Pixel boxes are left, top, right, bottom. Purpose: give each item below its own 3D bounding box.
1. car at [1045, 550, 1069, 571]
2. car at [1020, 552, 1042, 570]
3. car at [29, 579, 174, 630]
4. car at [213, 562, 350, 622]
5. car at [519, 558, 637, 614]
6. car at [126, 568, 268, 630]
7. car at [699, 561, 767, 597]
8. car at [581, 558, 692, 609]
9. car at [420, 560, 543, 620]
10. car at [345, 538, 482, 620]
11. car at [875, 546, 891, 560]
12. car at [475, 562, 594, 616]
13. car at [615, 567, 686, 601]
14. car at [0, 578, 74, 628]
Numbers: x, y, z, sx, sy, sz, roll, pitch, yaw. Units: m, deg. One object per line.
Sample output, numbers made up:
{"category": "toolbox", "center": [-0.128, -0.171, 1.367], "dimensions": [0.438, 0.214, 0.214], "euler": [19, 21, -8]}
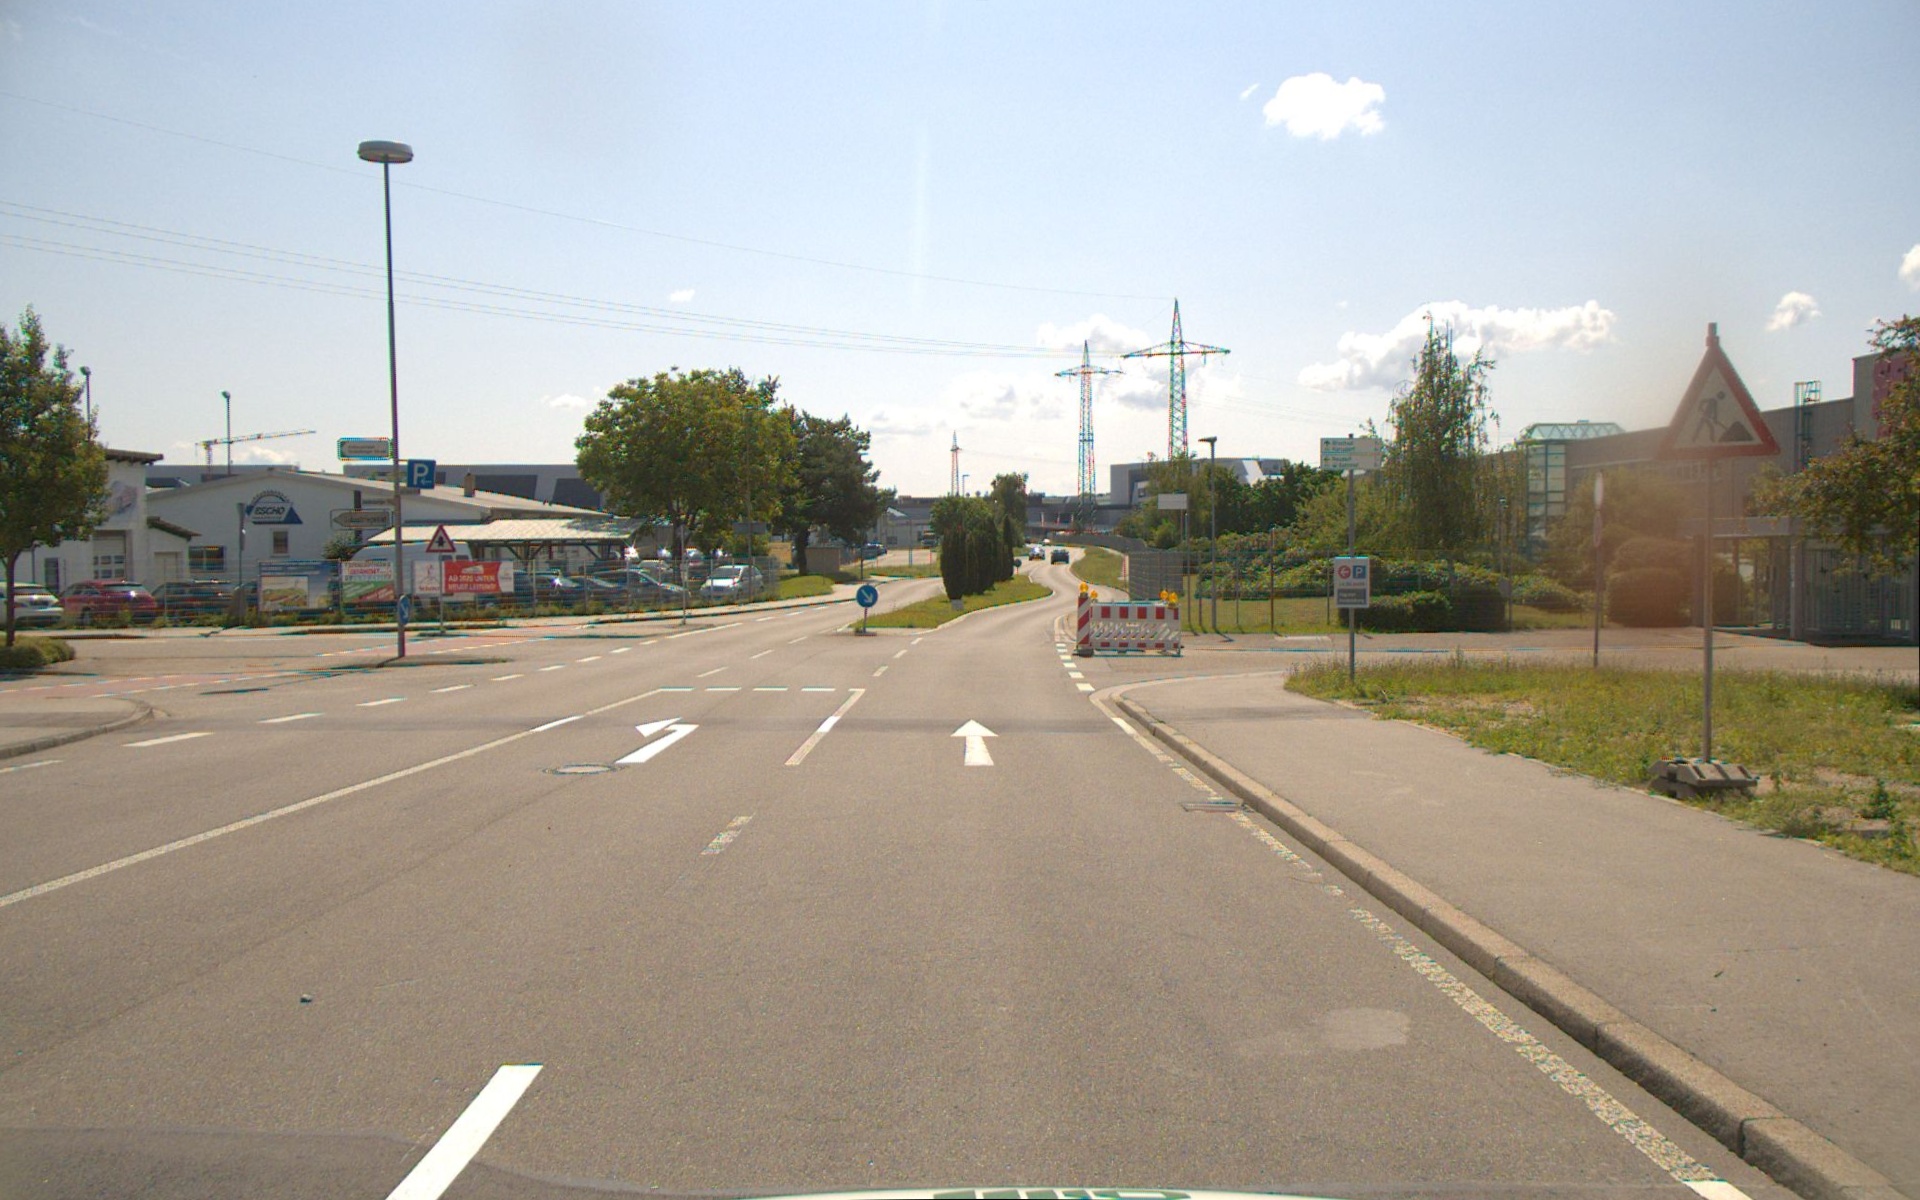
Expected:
{"category": "car", "center": [9.978, -4.083, 169.817], "dimensions": [2.225, 1.980, 4.666], "euler": [3, 1, 1]}
{"category": "car", "center": [8.412, -4.711, 197.154], "dimensions": [2.440, 2.048, 4.666], "euler": [0, 2, 0]}
{"category": "car", "center": [-24.942, 0.116, 48.045], "dimensions": [3.913, 1.400, 1.996], "euler": [0, 0, 30]}
{"category": "car", "center": [-21.108, -0.284, 51.461], "dimensions": [3.914, 1.708, 1.996], "euler": [2, 3, 31]}
{"category": "car", "center": [-14.269, -0.554, 61.774], "dimensions": [3.909, 1.936, 1.998], "euler": [1, 3, 27]}
{"category": "car", "center": [-22.874, -0.074, 49.561], "dimensions": [3.914, 1.682, 1.996], "euler": [2, 3, 31]}
{"category": "car", "center": [-10.045, -0.930, 73.398], "dimensions": [1.789, 1.544, 3.592], "euler": [0, 1, 14]}
{"category": "car", "center": [-12.945, -0.688, 66.236], "dimensions": [3.905, 1.936, 2.001], "euler": [1, 3, 21]}
{"category": "car", "center": [-16.584, -0.378, 57.302], "dimensions": [3.914, 1.936, 1.996], "euler": [2, 3, 31]}
{"category": "car", "center": [-18.279, -0.680, 55.309], "dimensions": [4.268, 2.654, 1.997], "euler": [0, 0, 28]}
{"category": "car", "center": [-11.415, -6.935, 244.221], "dimensions": [1.952, 2.048, 4.002], "euler": [0, 1, 3]}
{"category": "car", "center": [-15.346, -0.437, 59.646], "dimensions": [3.914, 1.811, 1.996], "euler": [2, 3, 31]}
{"category": "car", "center": [-17.493, -0.929, 93.547], "dimensions": [3.916, 1.882, 1.830], "euler": [-1, 1, -12]}
{"category": "car", "center": [-27.091, 0.087, 46.689], "dimensions": [3.841, 1.362, 1.724], "euler": [0, 0, 25]}
